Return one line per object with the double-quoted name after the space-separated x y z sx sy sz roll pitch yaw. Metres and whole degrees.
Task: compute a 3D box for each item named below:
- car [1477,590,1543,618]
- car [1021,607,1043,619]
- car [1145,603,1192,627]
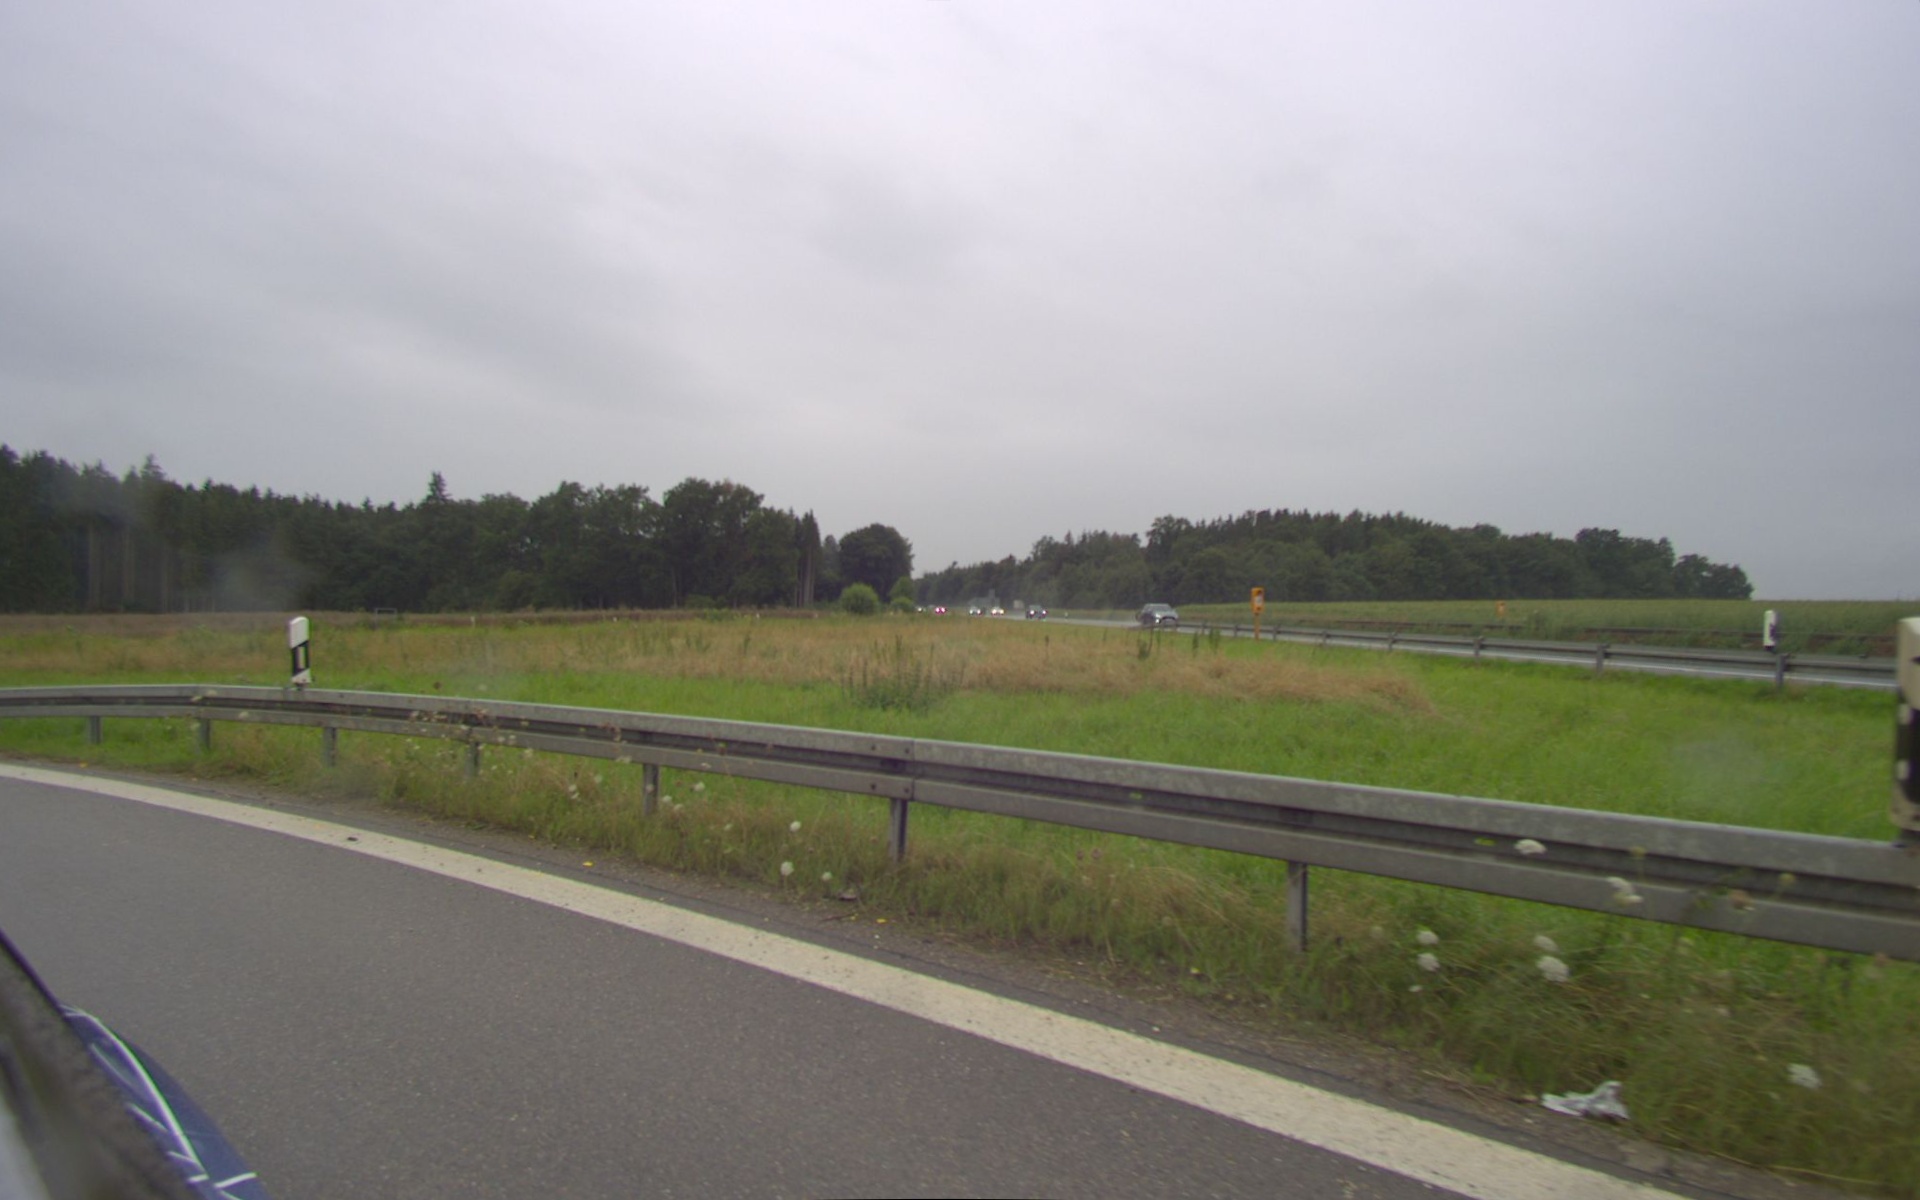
35.890 0.278 66.109 1.708 1.750 4.007 -1 -1 -8 "car"
8.884 1.608 124.731 2.069 1.465 4.599 1 -1 -4 "car"
14.923 1.046 72.778 1.839 1.646 5.108 0 -1 -6 "car"
